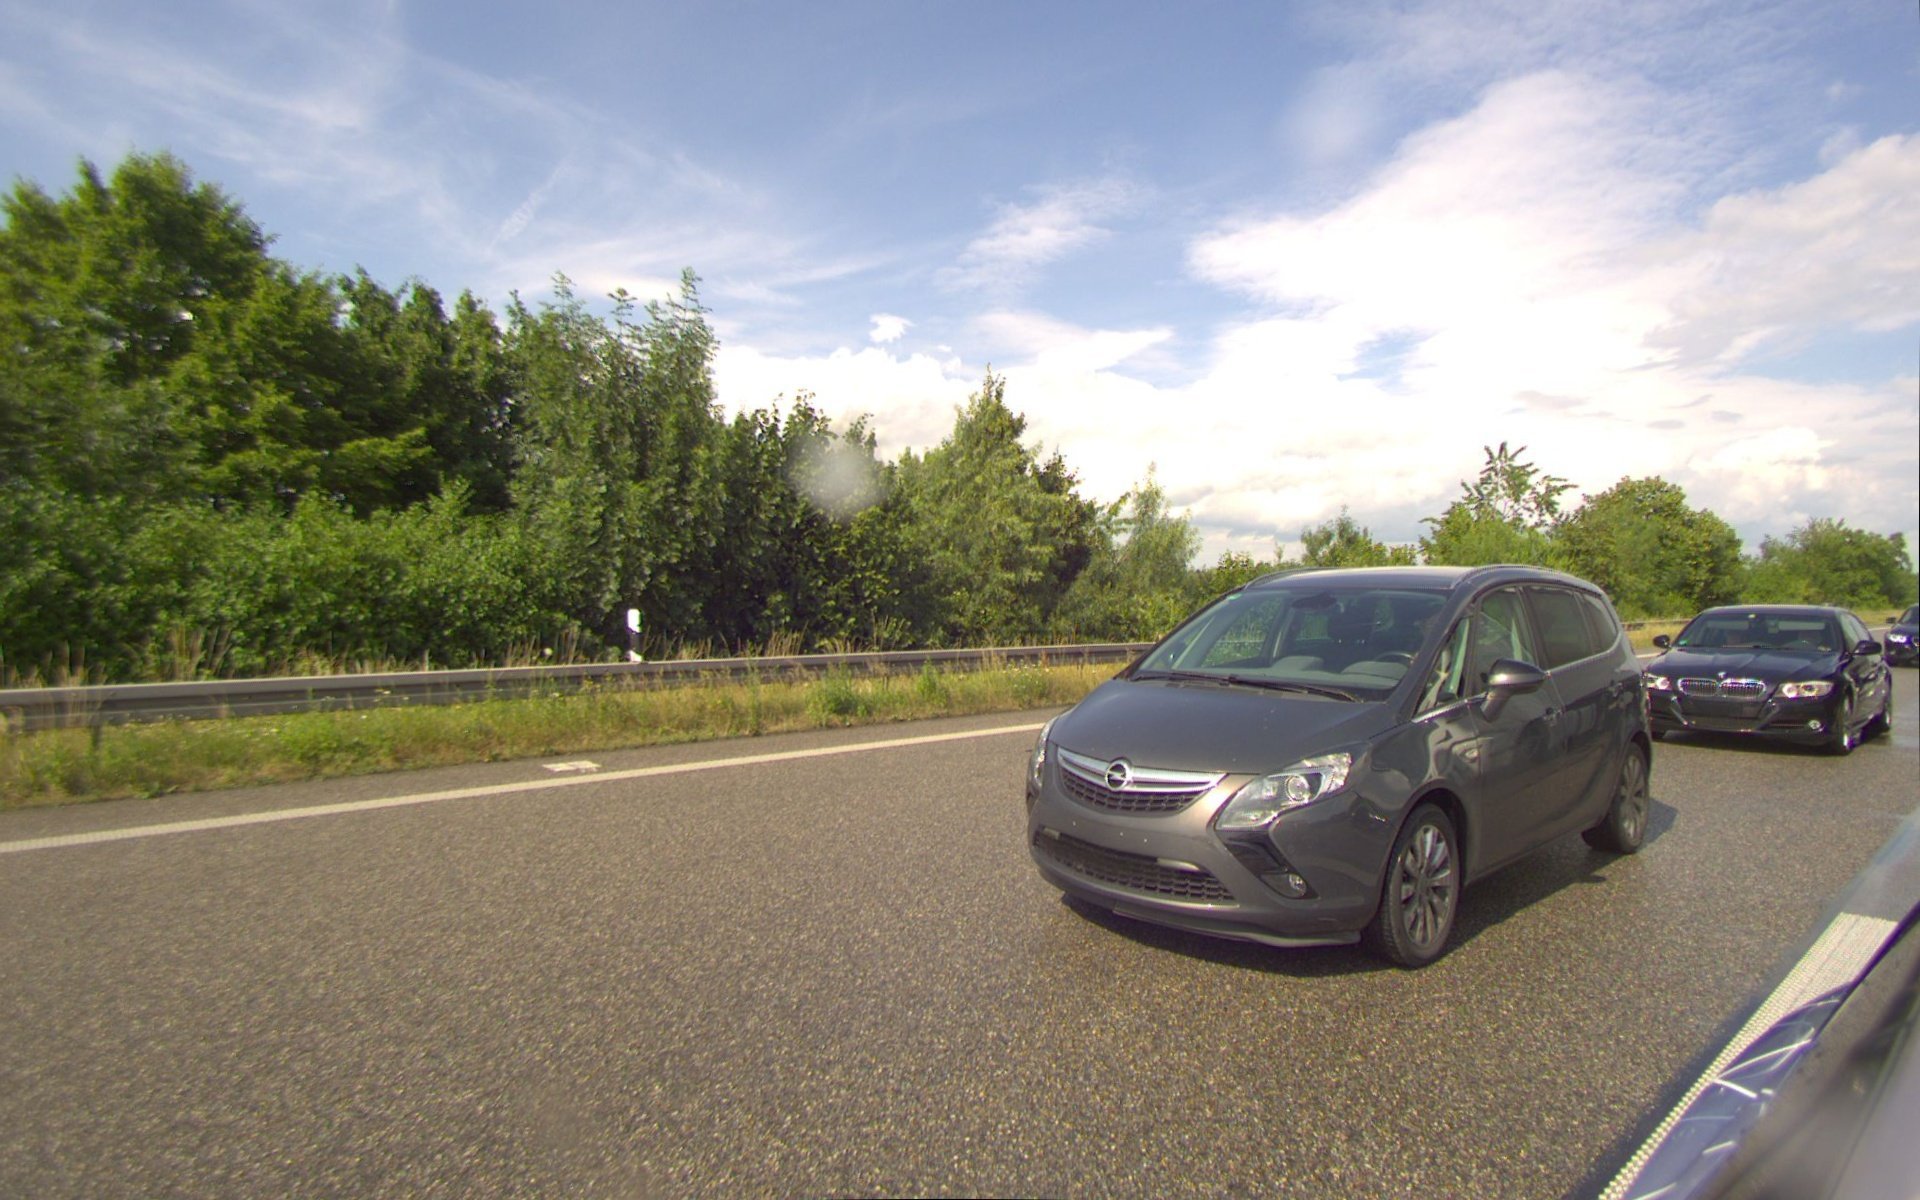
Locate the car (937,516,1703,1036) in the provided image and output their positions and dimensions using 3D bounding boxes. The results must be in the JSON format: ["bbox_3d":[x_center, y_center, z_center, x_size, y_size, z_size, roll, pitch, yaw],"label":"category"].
[{"bbox_3d":[2.250,0.542,5.454,4.653,1.652,1.857,0,0,-41],"label":"car"}]

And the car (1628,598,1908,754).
[{"bbox_3d":[8.809,0.679,10.925,3.816,1.371,1.721,0,0,-41],"label":"car"}]

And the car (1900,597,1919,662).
[{"bbox_3d":[22.476,0.636,22.840,1.740,1.382,3.935,0,1,45],"label":"car"}]
